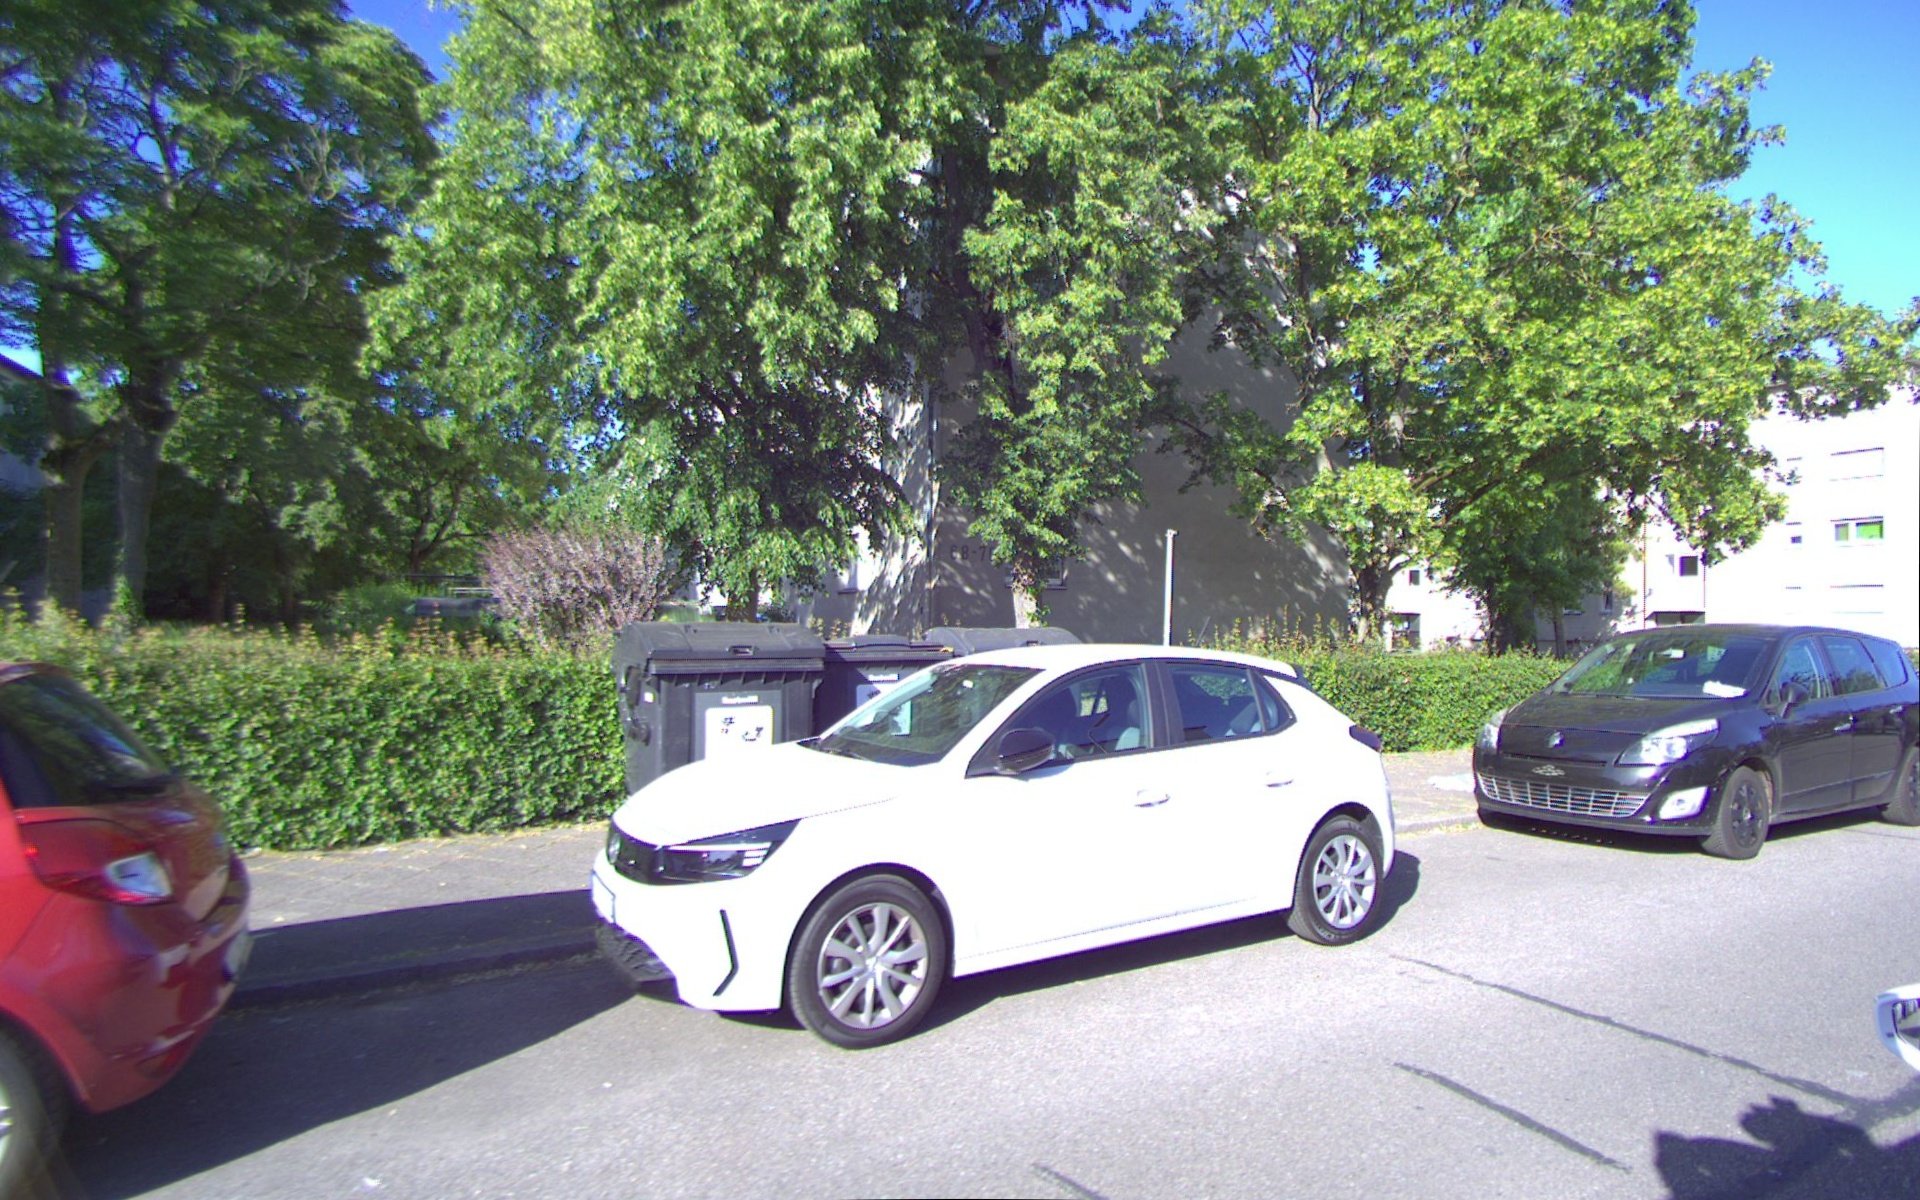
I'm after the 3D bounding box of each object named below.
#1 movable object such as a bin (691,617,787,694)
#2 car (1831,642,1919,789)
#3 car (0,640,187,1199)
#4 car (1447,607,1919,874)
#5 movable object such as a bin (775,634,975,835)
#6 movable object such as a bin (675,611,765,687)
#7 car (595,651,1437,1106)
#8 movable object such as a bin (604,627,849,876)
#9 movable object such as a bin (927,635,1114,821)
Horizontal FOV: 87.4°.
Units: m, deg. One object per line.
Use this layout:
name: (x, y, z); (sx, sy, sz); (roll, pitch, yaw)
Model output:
movable object such as a bin: (-4.219, 1.038, 19.132); (1.477, 1.407, 1.287); (1, -2, -29)
car: (11.681, 1.224, 11.167); (4.001, 1.505, 1.654); (1, -3, -28)
car: (-4.172, 0.835, 2.267); (3.637, 1.493, 1.662); (2, -3, -32)
car: (6.105, 0.970, 8.154); (4.352, 1.688, 1.664); (1, -3, -29)
movable object such as a bin: (-0.688, 1.000, 8.071); (1.300, 1.437, 0.982); (1, -1, -33)
movable object such as a bin: (-4.869, 0.978, 20.315); (1.477, 1.472, 1.287); (1, -2, -29)
car: (0.369, 0.979, 4.933); (3.854, 1.440, 1.663); (1, -3, -29)
movable object such as a bin: (-1.649, 0.956, 7.047); (1.393, 1.518, 1.104); (1, -1, -33)
movable object such as a bin: (0.513, 1.031, 8.649); (1.300, 1.437, 0.983); (1, -1, -31)
